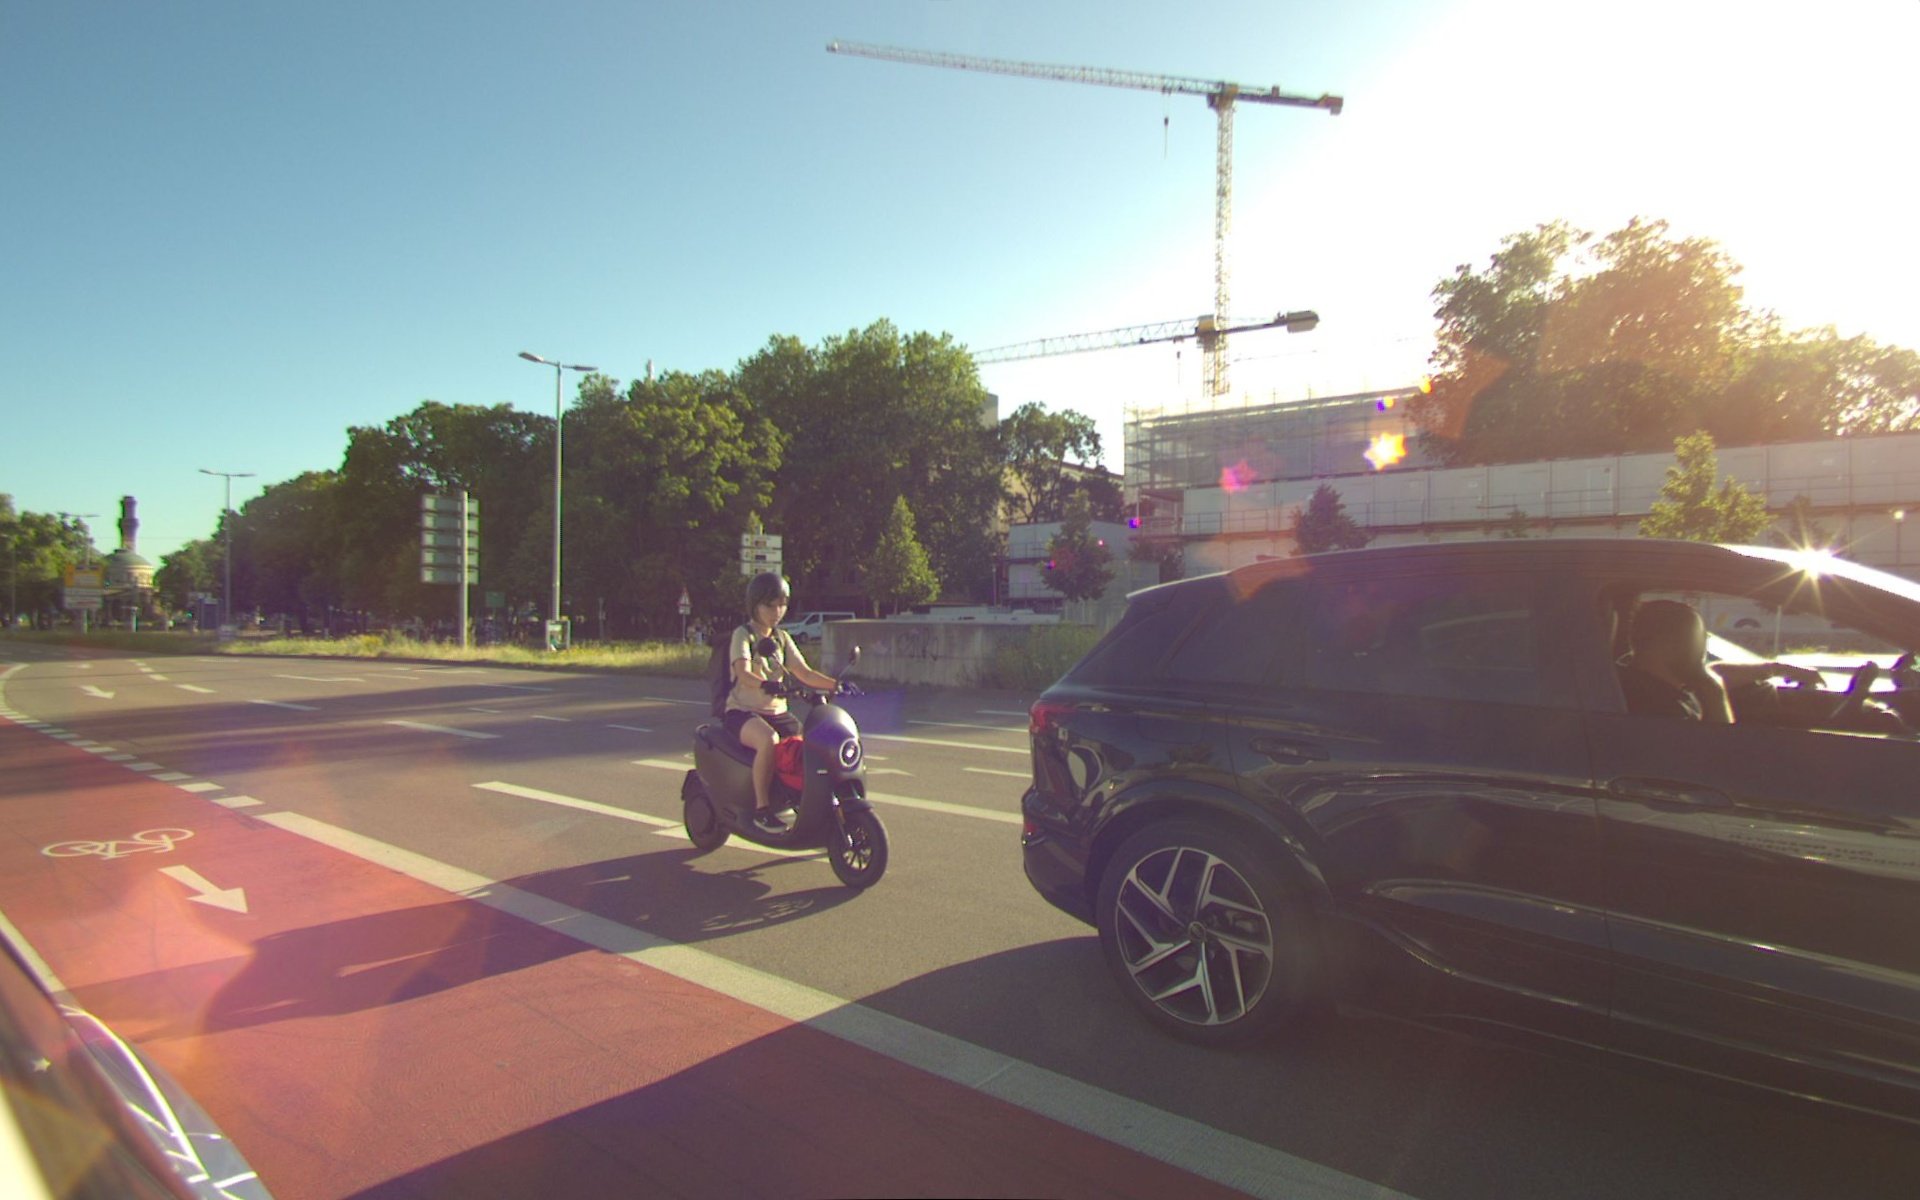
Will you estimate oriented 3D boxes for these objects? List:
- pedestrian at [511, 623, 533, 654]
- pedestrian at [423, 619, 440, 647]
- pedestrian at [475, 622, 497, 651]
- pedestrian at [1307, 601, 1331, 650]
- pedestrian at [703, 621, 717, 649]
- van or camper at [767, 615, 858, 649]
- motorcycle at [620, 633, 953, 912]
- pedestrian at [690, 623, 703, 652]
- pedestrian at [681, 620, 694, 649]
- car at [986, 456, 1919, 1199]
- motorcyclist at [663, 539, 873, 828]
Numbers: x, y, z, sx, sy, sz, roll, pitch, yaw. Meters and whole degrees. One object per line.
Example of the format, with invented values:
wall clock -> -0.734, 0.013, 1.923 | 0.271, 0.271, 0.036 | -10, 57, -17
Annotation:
pedestrian -> -28.768, 2.501, 66.498 | 0.815, 1.978, 1.111 | -1, 0, 41
pedestrian -> -39.138, 2.433, 74.912 | 0.941, 2.029, 0.843 | -1, 0, -16
pedestrian -> -32.598, 2.491, 69.594 | 1.054, 1.978, 0.942 | -1, 0, 26
pedestrian -> 11.974, 0.852, 33.768 | 0.597, 1.614, 0.580 | -1, 0, 38
pedestrian -> -13.550, 1.900, 54.849 | 0.494, 1.522, 0.492 | -1, -2, 41
van or camper -> -8.961, 1.927, 61.900 | 1.951, 1.960, 5.425 | -2, -2, 44
motorcycle -> -1.032, 0.842, 5.718 | 1.943, 1.290, 0.817 | -1, -2, 41
pedestrian -> -14.095, 2.001, 54.132 | 0.494, 1.522, 0.492 | -1, -2, 41
pedestrian -> -14.413, 1.802, 53.535 | 0.494, 1.522, 0.492 | -1, -2, 41
car -> 2.577, 0.550, 3.180 | 4.660, 1.720, 2.144 | -1, -1, 39
motorcyclist -> -1.091, 0.438, 5.775 | 0.877, 1.475, 0.813 | -1, -2, 41
